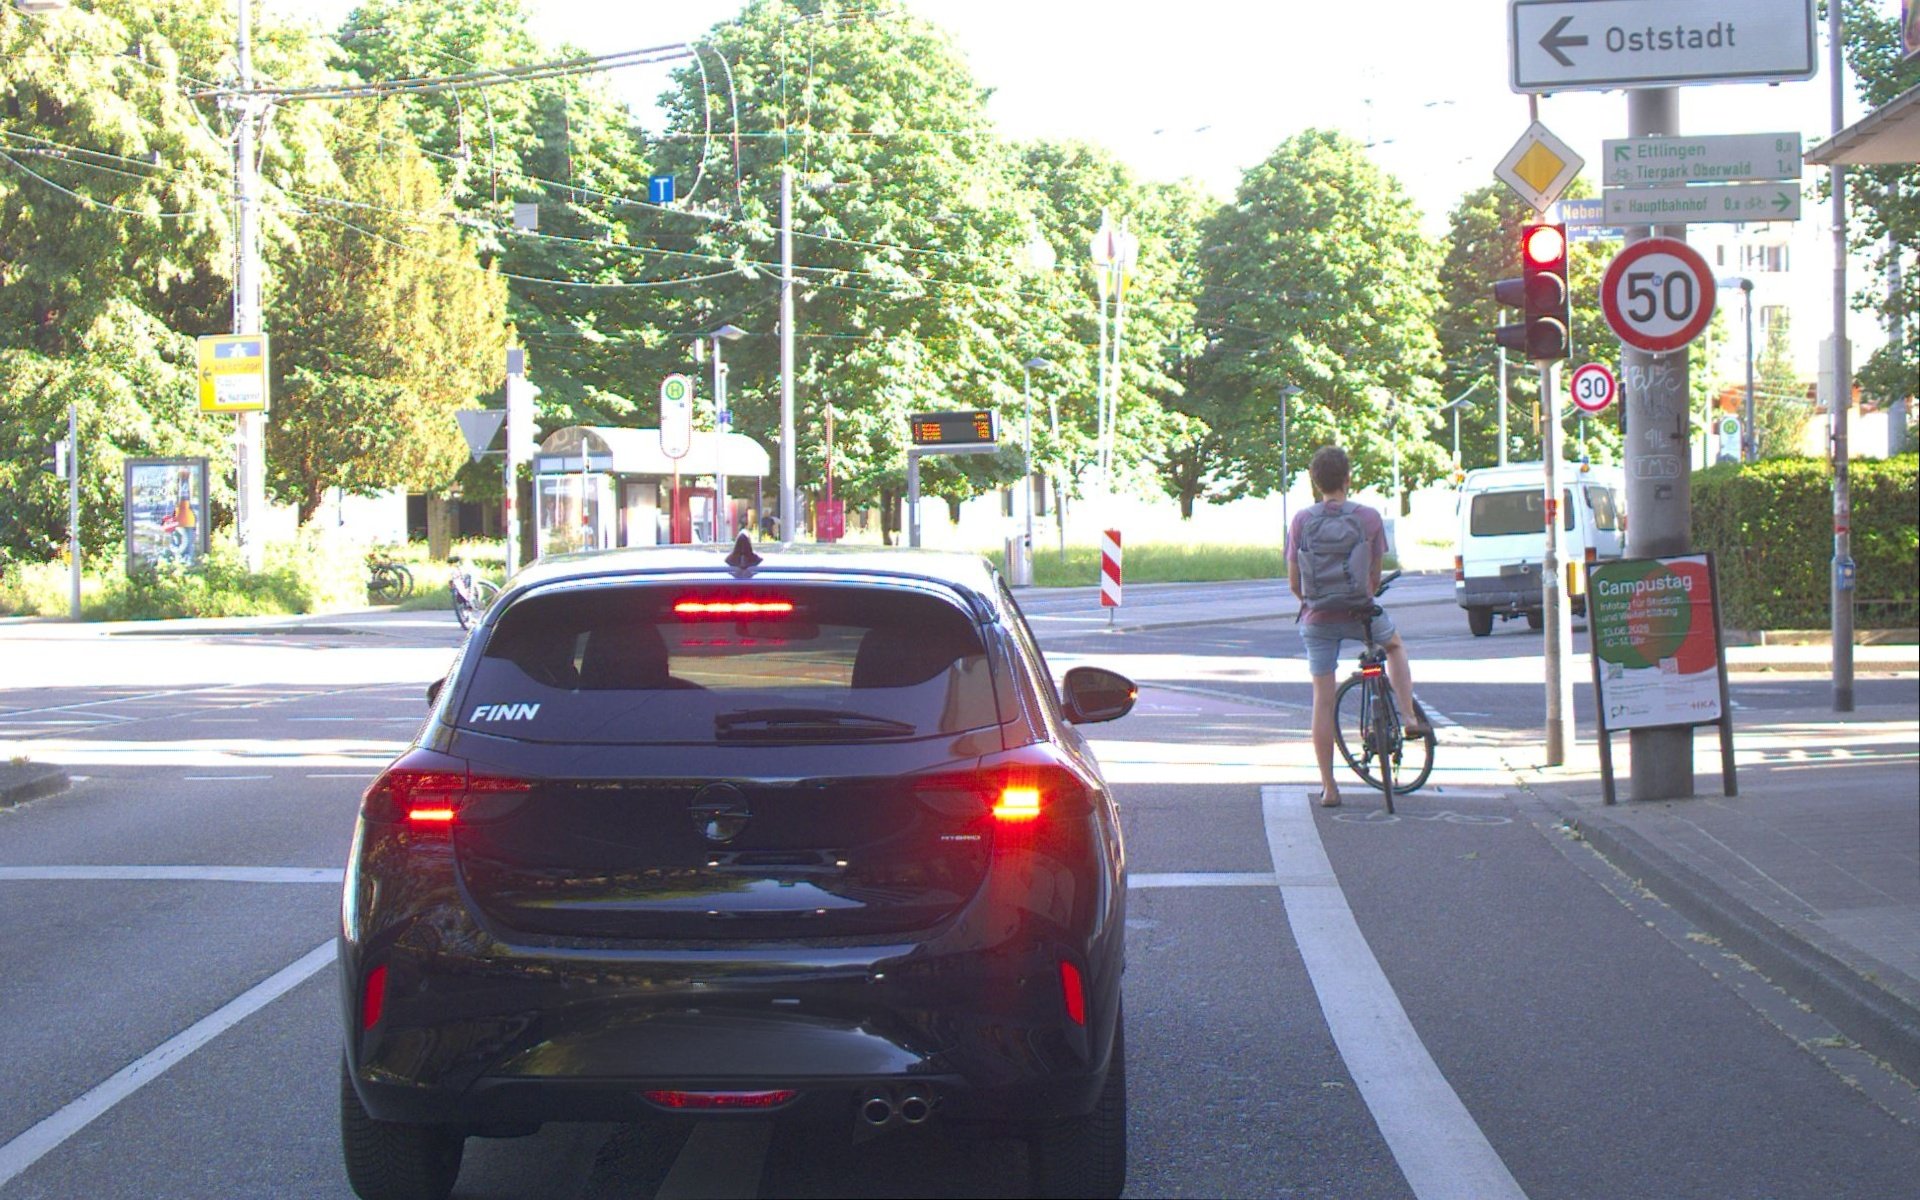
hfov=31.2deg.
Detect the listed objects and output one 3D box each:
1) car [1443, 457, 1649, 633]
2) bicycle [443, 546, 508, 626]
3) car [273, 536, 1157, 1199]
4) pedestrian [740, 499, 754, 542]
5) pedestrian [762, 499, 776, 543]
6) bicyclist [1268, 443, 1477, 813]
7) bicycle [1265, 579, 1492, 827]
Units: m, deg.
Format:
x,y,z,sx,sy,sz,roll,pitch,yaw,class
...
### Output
x,y,z,sx,sy,sz,roll,pitch,yaw,class
7.979,-0.766,46.465,2.065,2.241,4.883,0,1,18,car
-6.546,-0.203,46.485,0.605,1.028,1.982,0,1,-1,bicycle
-0.497,0.559,8.847,1.727,1.424,4.187,0,1,0,car
-6.943,-2.601,112.303,0.412,1.408,0.436,1,0,-3,pedestrian
-6.228,-2.579,111.912,0.412,1.408,0.436,1,0,-1,pedestrian
2.114,0.131,17.717,0.941,1.845,0.864,-1,1,-1,bicyclist
2.123,0.493,17.744,0.860,1.149,2.172,-1,1,-1,bicycle
